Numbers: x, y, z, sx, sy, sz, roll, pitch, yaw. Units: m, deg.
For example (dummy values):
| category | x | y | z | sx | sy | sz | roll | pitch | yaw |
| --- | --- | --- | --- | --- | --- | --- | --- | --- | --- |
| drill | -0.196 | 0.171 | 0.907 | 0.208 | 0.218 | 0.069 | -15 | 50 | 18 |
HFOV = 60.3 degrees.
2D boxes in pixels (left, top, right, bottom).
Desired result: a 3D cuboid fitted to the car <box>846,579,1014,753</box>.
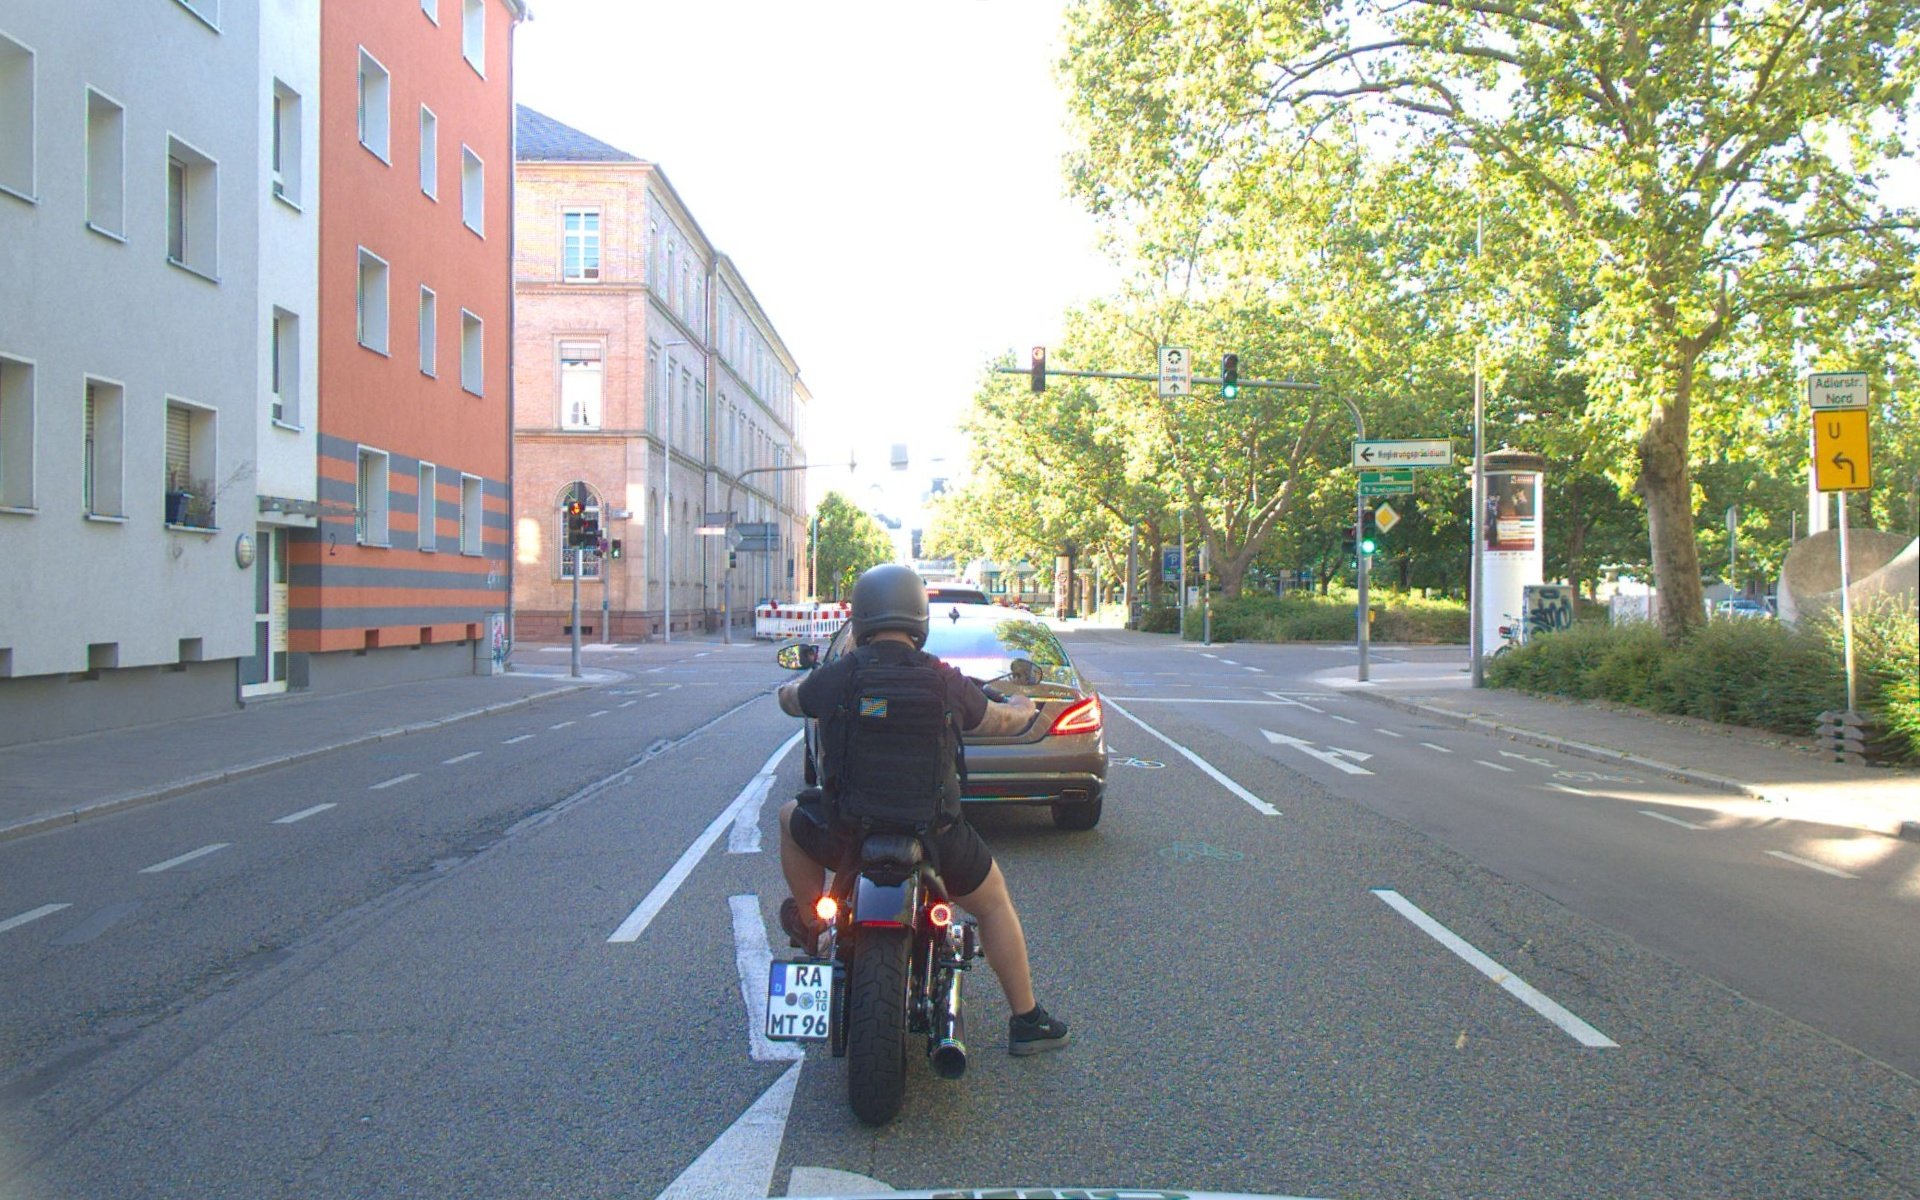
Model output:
| category | x | y | z | sx | sy | sz | roll | pitch | yaw |
| --- | --- | --- | --- | --- | --- | --- | --- | --- | --- |
| car | -0.336 | 0.616 | 17.749 | 1.580 | 1.636 | 4.327 | 0 | 0 | -2 |

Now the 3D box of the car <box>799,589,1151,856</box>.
| category | x | y | z | sx | sy | sz | roll | pitch | yaw |
| --- | --- | --- | --- | --- | --- | --- | --- | --- | --- |
| car | -0.113 | 0.681 | 11.585 | 1.909 | 1.498 | 4.355 | 0 | 0 | -7 |

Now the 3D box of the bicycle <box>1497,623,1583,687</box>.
| category | x | y | z | sx | sy | sz | roll | pitch | yaw |
| --- | --- | --- | --- | --- | --- | --- | --- | --- | --- |
| bicycle | 9.719 | 0.919 | 27.718 | 1.324 | 1.041 | 0.363 | 0 | 0 | 0 |

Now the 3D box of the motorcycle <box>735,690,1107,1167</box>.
| category | x | y | z | sx | sy | sz | roll | pitch | yaw |
| --- | --- | --- | --- | --- | --- | --- | --- | --- | --- |
| motorcycle | -0.118 | 0.923 | 5.546 | 0.969 | 1.097 | 2.451 | 0 | 0 | -1 |

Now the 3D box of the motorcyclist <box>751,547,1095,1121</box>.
| category | x | y | z | sx | sy | sz | roll | pitch | yaw |
| --- | --- | --- | --- | --- | --- | --- | --- | --- | --- |
| motorcyclist | -0.113 | 0.660 | 5.391 | 0.969 | 1.625 | 1.403 | 0 | 0 | -1 |
